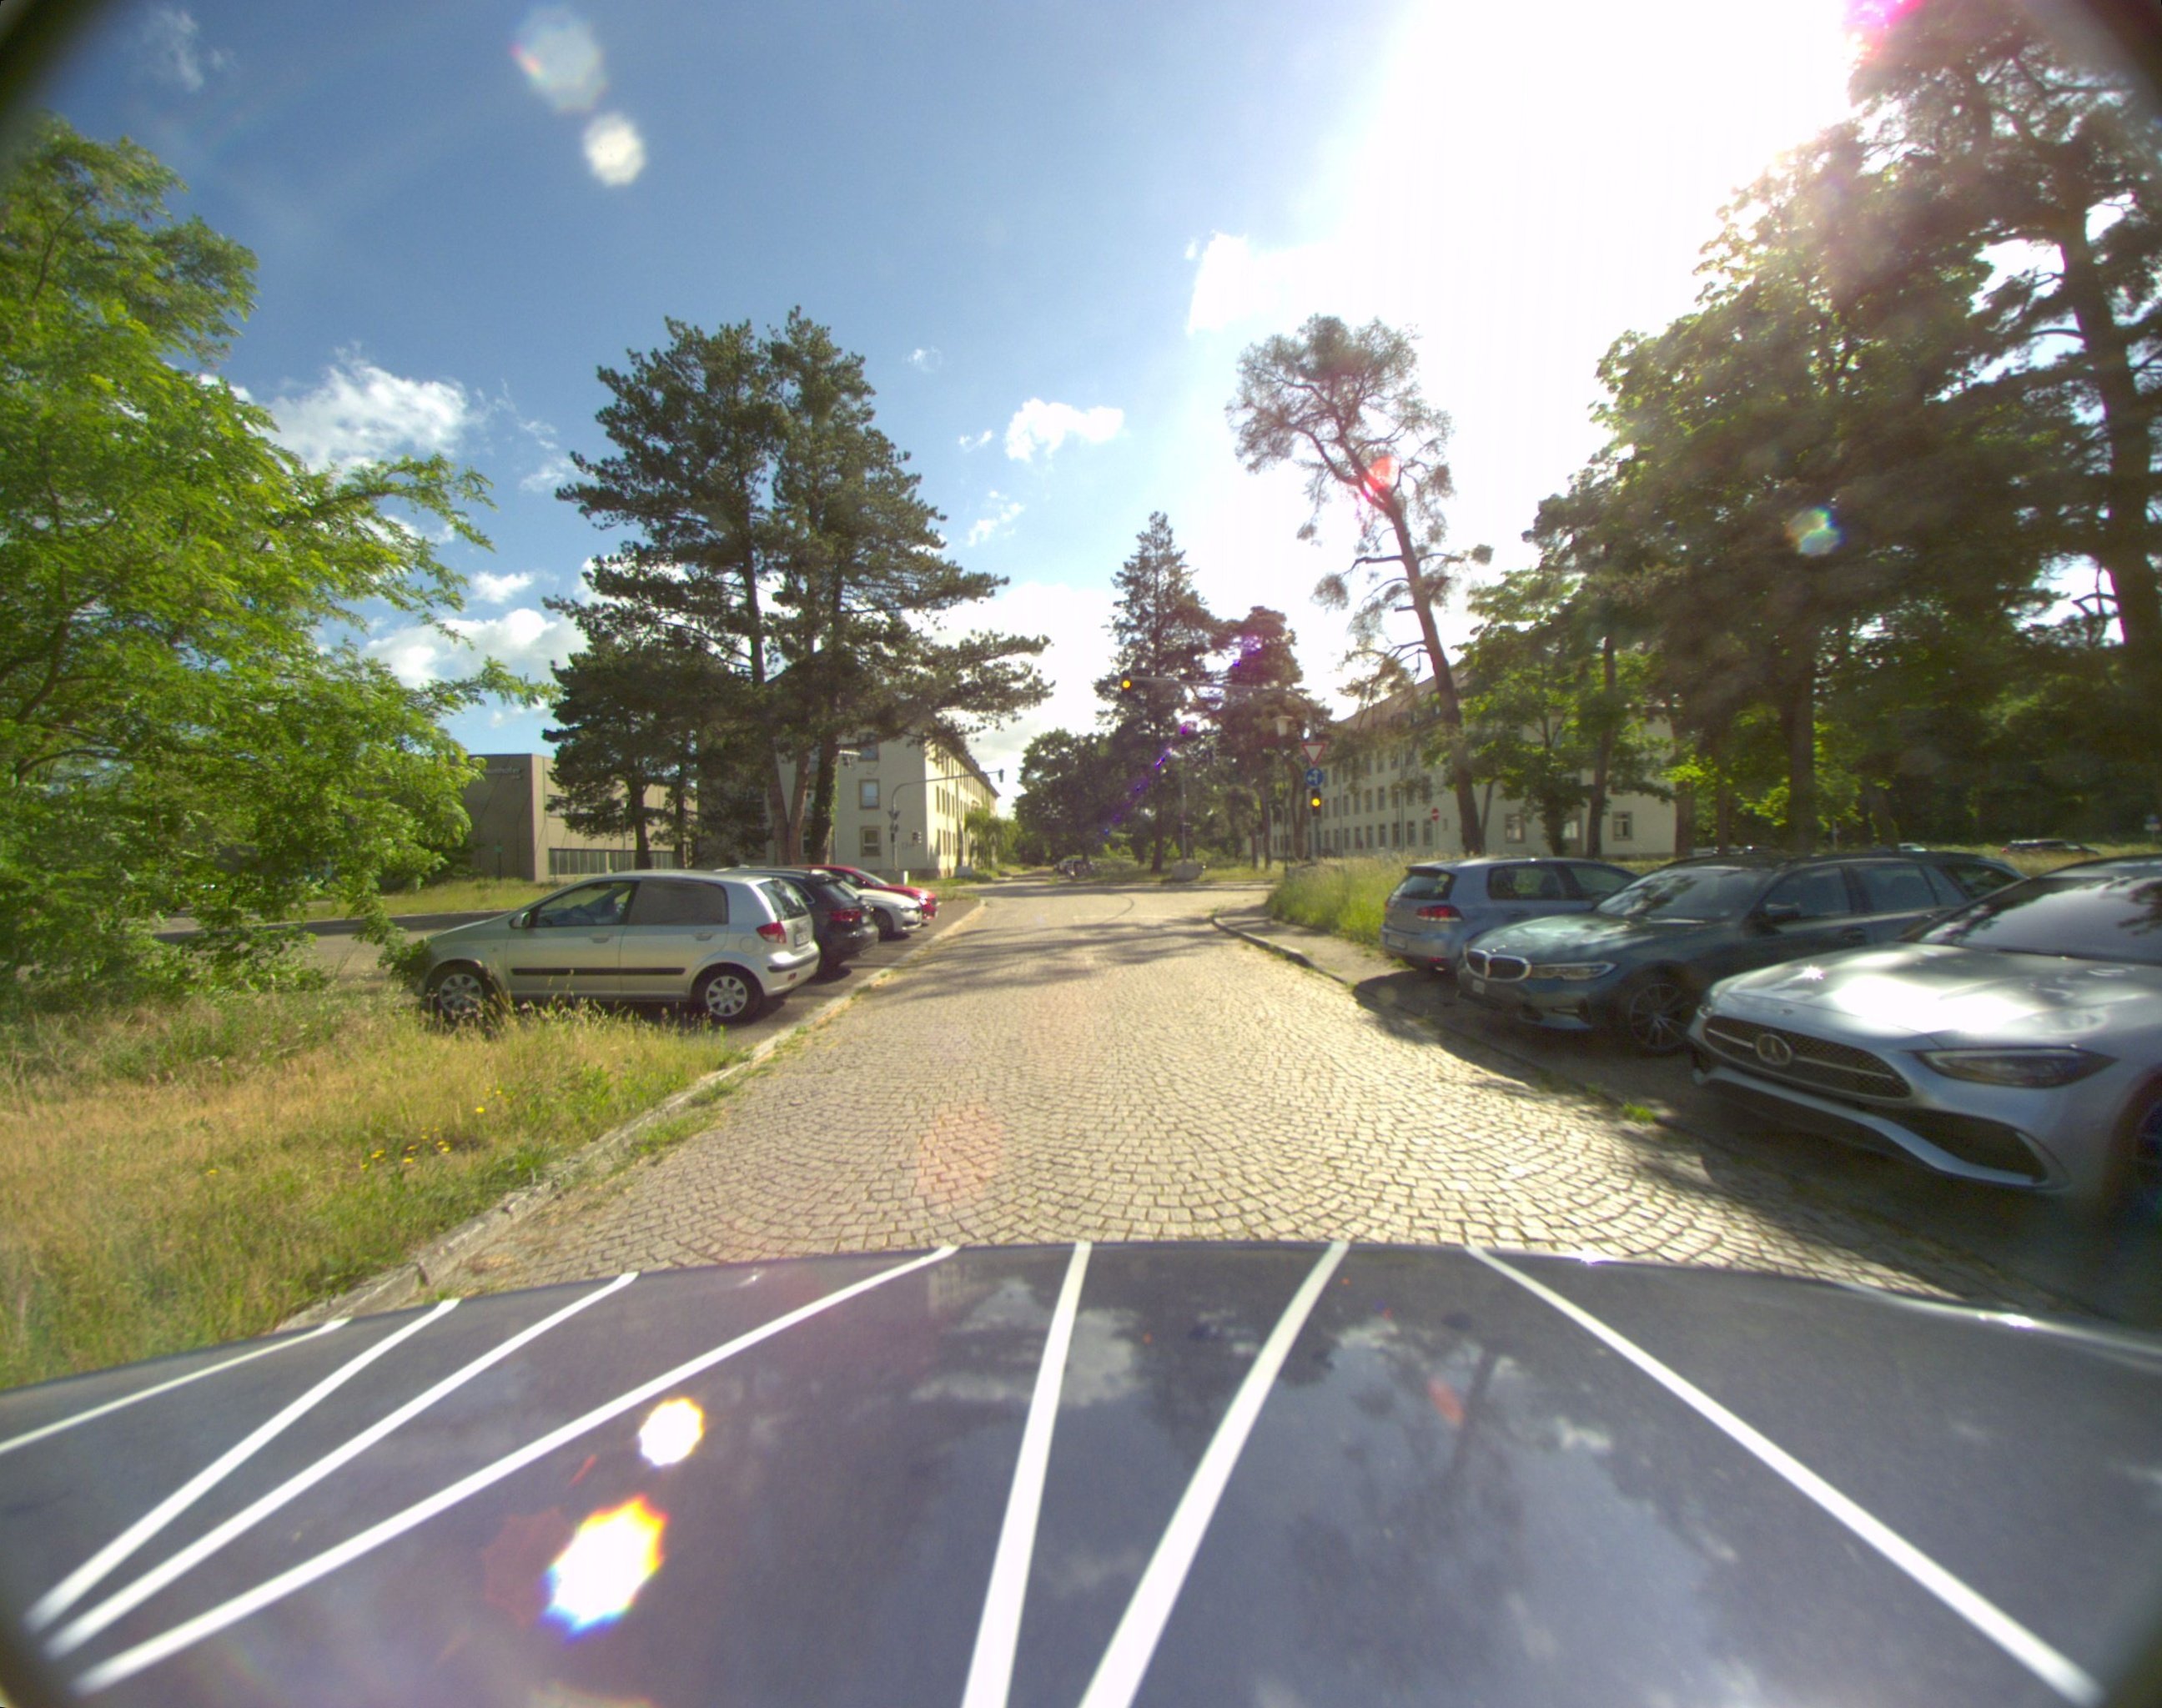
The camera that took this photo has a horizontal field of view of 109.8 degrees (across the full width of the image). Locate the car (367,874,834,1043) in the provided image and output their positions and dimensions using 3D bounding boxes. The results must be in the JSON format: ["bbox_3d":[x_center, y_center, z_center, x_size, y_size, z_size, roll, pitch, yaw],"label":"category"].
[{"bbox_3d":[-4.774,1.020,8.019,3.751,1.468,1.751,1,0,-3],"label":"car"}]

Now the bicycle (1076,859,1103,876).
[{"bbox_3d":[0.670,1.076,62.693,2.114,1.276,0.621,-3,1,-6],"label":"bicycle"}]

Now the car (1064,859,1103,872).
[{"bbox_3d":[0.242,1.295,84.450,4.045,1.355,1.816,-1,0,-8],"label":"car"}]

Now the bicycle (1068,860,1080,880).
[{"bbox_3d":[-0.516,1.160,54.486,0.621,1.342,2.114,-3,0,-6],"label":"bicycle"}]

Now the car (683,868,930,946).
[{"bbox_3d":[-5.593,1.079,15.975,4.526,1.456,1.838,1,0,-4],"label":"car"}]

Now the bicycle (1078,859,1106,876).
[{"bbox_3d":[0.843,1.078,60.949,2.114,1.276,0.621,-3,1,-7],"label":"bicycle"}]

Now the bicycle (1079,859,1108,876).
[{"bbox_3d":[0.984,1.066,60.125,2.115,1.276,0.621,-3,1,-8],"label":"bicycle"}]

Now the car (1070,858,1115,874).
[{"bbox_3d":[1.086,1.135,72.736,4.045,1.514,1.816,-1,0,-10],"label":"car"}]

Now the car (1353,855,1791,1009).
[{"bbox_3d":[5.703,0.843,9.209,4.038,1.474,1.948,-3,0,-3],"label":"car"}]

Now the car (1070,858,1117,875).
[{"bbox_3d":[1.135,1.112,69.711,4.045,1.493,1.816,-1,0,-10],"label":"car"}]

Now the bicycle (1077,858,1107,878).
[{"bbox_3d":[0.822,1.042,57.868,2.114,1.276,0.621,-7,1,-4],"label":"bicycle"}]

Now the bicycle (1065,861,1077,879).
[{"bbox_3d":[-0.739,1.166,56.655,0.621,1.276,2.114,-3,0,-6],"label":"bicycle"}]

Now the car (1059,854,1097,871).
[{"bbox_3d":[-0.373,1.038,90.051,4.227,1.903,1.816,-1,0,-12],"label":"car"}]

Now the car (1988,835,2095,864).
[{"bbox_3d":[57.138,-0.267,45.258,4.056,1.620,1.840,-1,0,0],"label":"car"}]

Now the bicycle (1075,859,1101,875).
[{"bbox_3d":[0.582,1.083,63.533,2.114,1.276,0.621,-3,1,-6],"label":"bicycle"}]

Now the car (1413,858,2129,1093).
[{"bbox_3d":[5.613,0.875,6.586,4.594,1.443,1.983,-3,1,-5],"label":"car"}]

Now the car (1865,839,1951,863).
[{"bbox_3d":[57.480,-0.229,52.865,4.105,1.571,1.720,-1,0,0],"label":"car"}]

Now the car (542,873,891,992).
[{"bbox_3d":[-4.929,1.047,10.760,4.015,1.432,1.843,1,0,-3],"label":"car"}]

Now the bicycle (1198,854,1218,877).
[{"bbox_3d":[7.574,0.676,45.501,0.621,1.276,2.114,-4,0,-3],"label":"bicycle"}]

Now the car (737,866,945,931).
[{"bbox_3d":[-5.788,1.066,18.783,4.549,1.413,1.894,1,0,-3],"label":"car"}]

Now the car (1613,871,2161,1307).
[{"bbox_3d":[5.825,0.882,3.872,4.877,1.413,1.938,-3,1,-1],"label":"car"}]
